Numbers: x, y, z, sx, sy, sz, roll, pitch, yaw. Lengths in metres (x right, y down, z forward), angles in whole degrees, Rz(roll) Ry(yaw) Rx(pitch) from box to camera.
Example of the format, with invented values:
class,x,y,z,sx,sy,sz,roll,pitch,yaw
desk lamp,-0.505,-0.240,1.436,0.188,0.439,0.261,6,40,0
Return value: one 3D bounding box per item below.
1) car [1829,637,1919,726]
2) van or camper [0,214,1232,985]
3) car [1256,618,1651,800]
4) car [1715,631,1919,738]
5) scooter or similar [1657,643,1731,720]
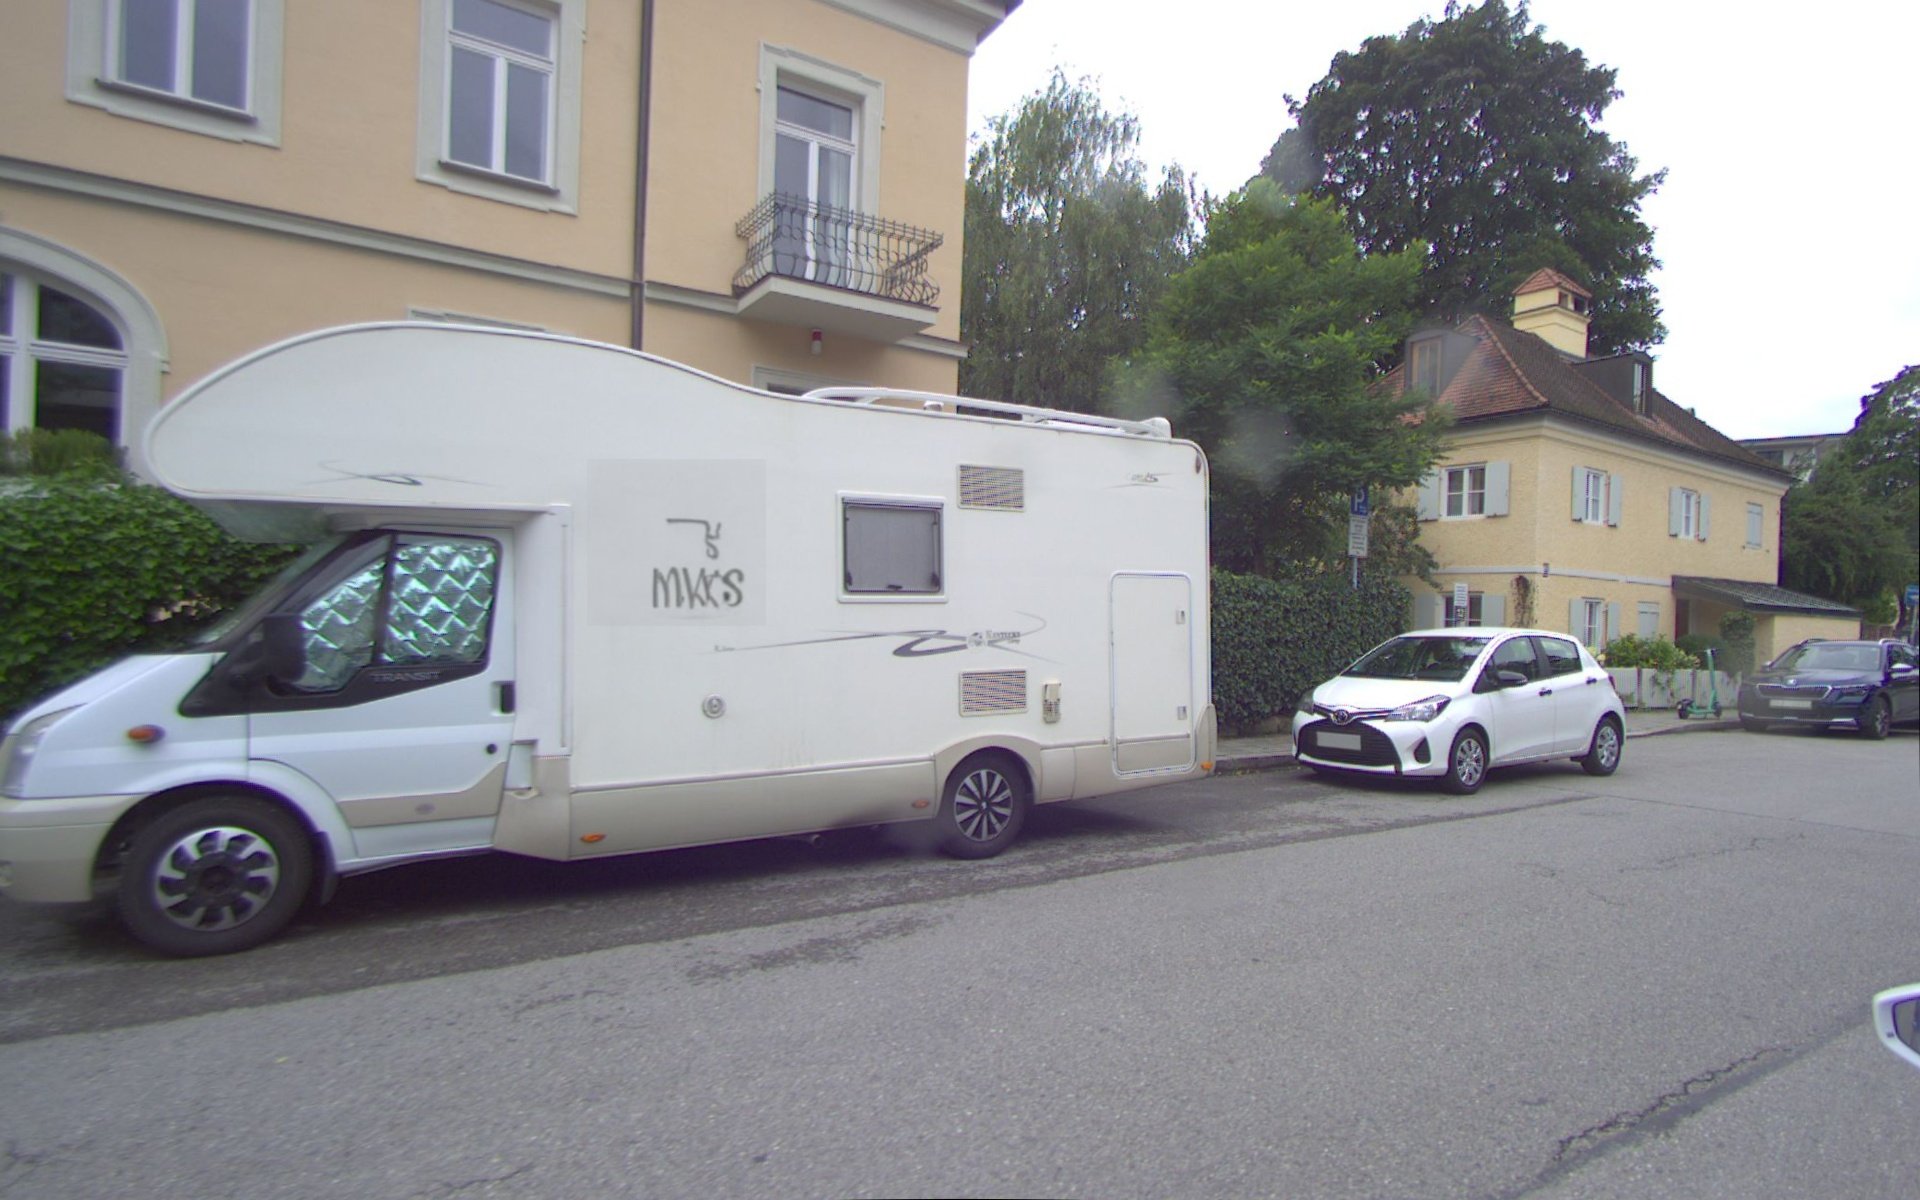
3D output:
class,x,y,z,sx,sy,sz,roll,pitch,yaw
car,18.571,1.506,19.097,4.471,1.555,1.836,2,-3,-32
van or camper,-1.705,0.100,6.497,7.127,2.979,2.443,2,-2,-31
car,5.215,1.018,10.473,4.181,1.555,1.769,2,-3,-32
car,14.528,1.350,16.575,4.392,1.555,1.836,3,-3,-32
scooter or similar,12.157,1.329,16.636,1.355,1.204,0.450,2,1,-31
